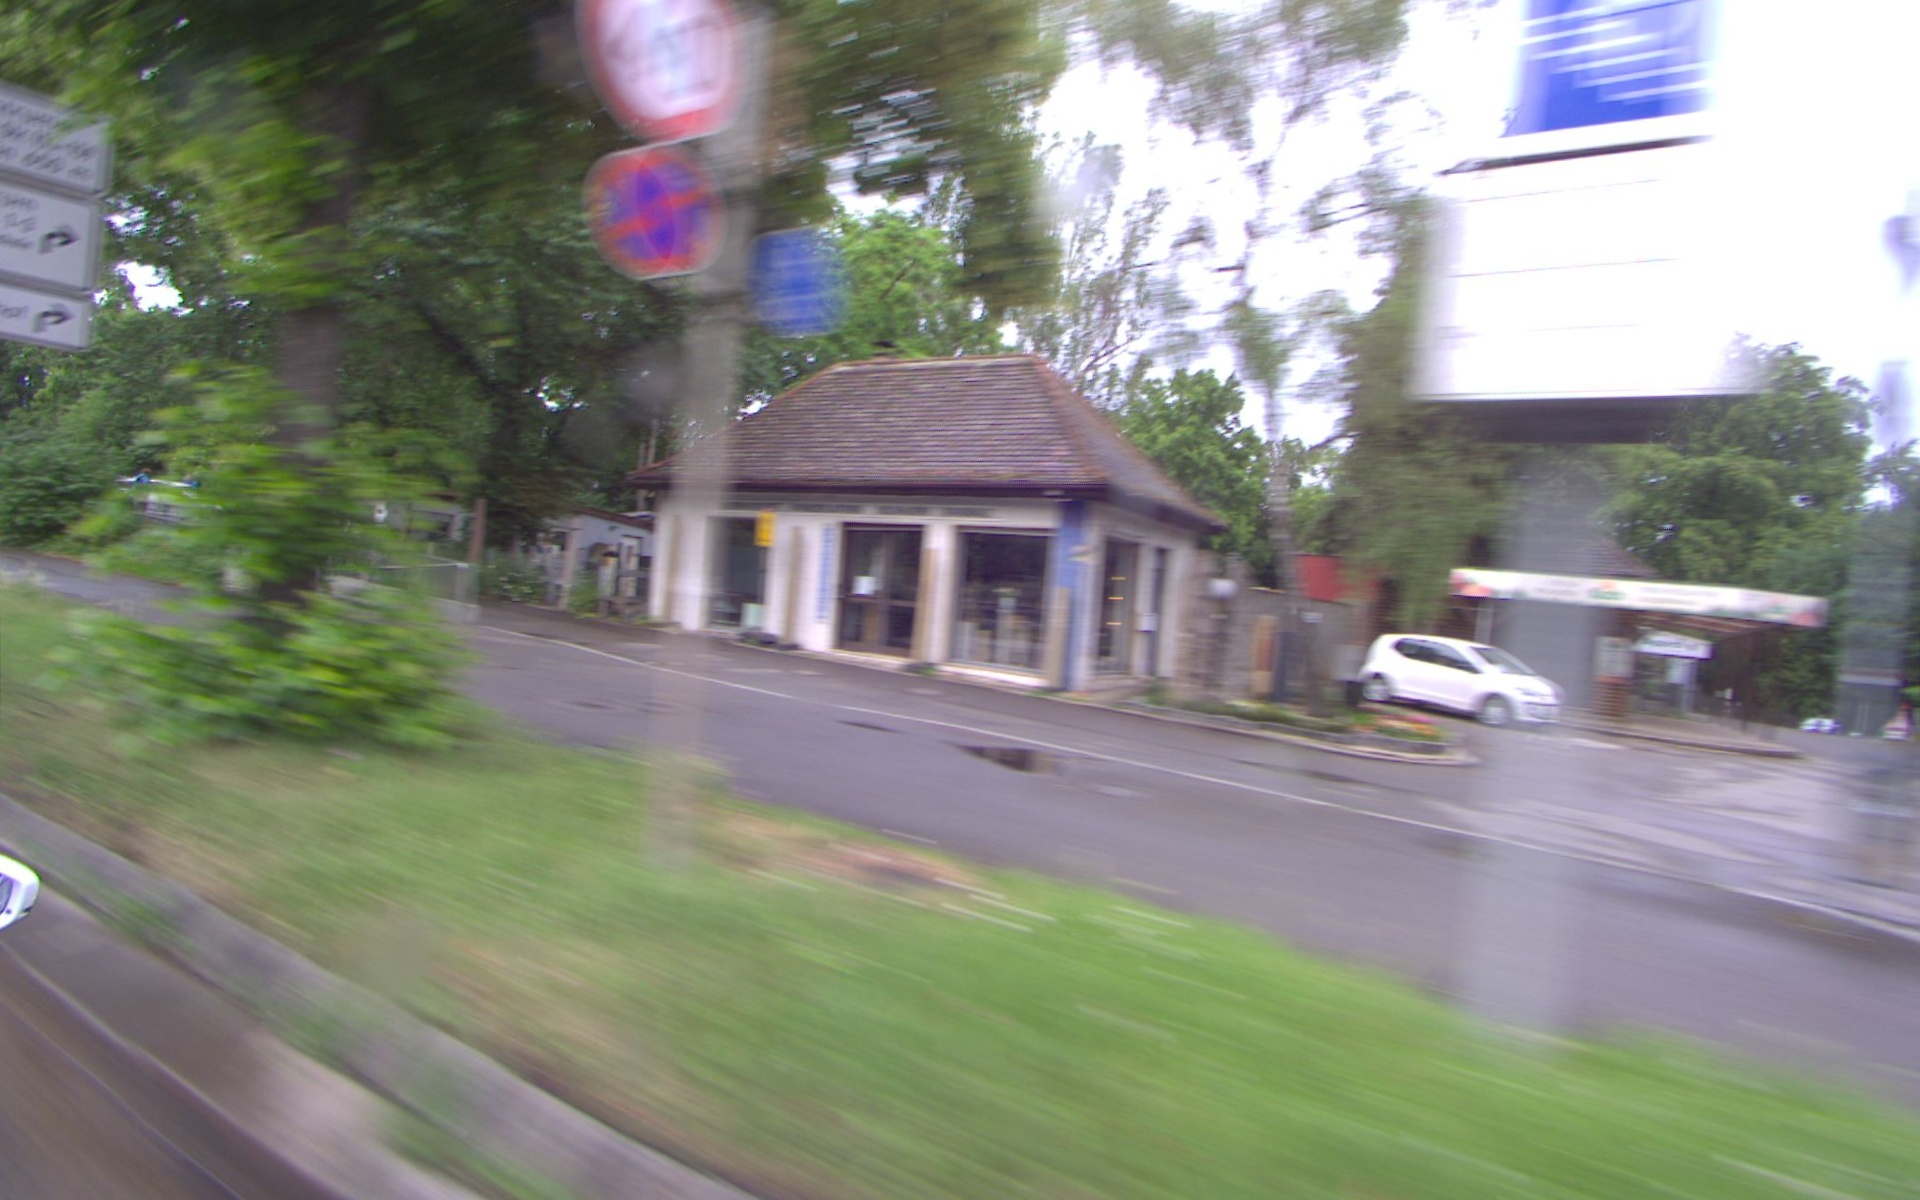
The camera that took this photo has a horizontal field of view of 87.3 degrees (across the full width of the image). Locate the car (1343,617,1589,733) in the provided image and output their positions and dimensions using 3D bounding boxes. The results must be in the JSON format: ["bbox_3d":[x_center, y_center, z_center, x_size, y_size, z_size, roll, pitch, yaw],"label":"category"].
[{"bbox_3d":[9.662,1.387,19.511,1.813,1.600,3.729,5,3,-31],"label":"car"}]

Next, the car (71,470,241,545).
[{"bbox_3d":[-30.026,-3.431,37.716,4.396,1.855,1.943,9,-1,-10],"label":"car"}]
